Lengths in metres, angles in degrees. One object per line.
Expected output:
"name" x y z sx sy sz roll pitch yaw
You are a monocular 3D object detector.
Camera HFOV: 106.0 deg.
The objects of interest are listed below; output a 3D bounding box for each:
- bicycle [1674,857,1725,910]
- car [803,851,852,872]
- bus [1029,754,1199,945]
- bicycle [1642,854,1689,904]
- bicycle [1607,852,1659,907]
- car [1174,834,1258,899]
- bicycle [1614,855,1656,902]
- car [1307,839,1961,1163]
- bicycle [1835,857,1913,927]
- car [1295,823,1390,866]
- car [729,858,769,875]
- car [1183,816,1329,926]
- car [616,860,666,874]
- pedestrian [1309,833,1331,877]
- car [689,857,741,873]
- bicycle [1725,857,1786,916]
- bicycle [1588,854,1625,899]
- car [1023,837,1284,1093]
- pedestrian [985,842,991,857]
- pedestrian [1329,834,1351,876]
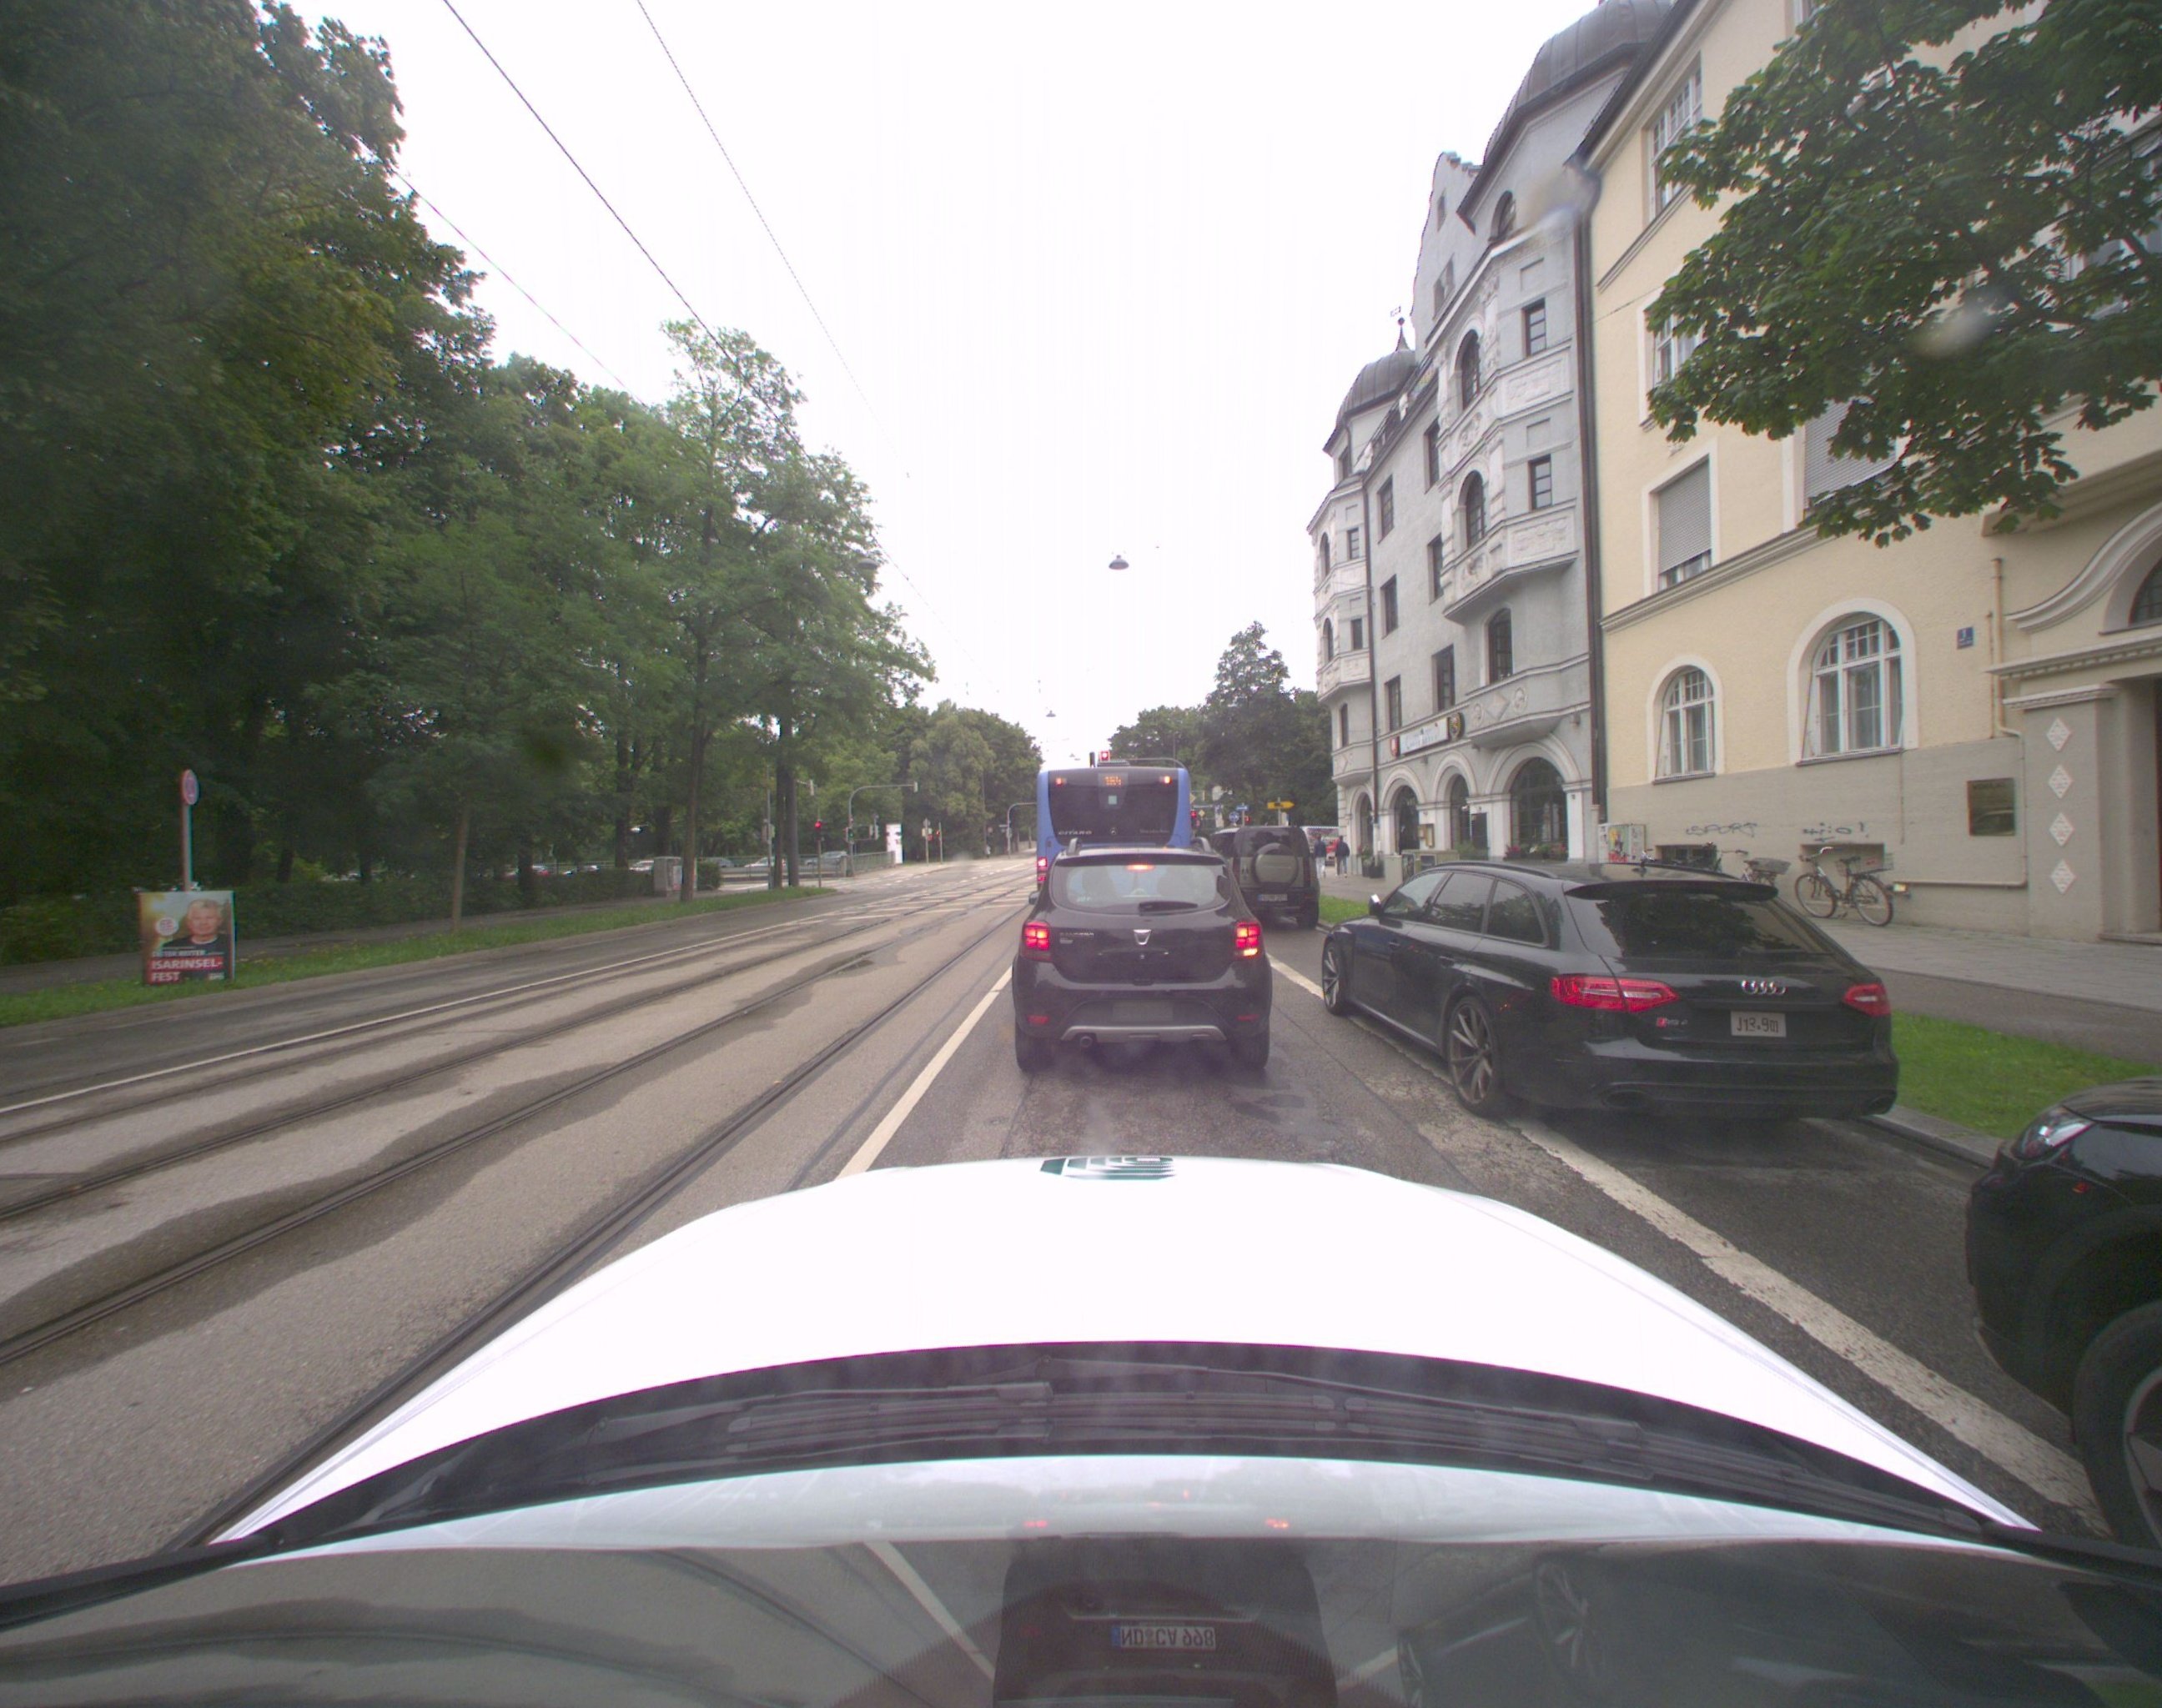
"bicycle" 11.096 0.515 14.629 0.271 0.930 0.886 0 0 3
"car" -22.953 0.689 73.905 4.015 1.887 1.488 0 0 -5
"bus" 0.528 -0.076 16.279 2.670 2.997 6.960 0 0 0
"bicycle" 11.188 0.458 15.598 0.304 0.930 0.886 0 0 4
"bicycle" 10.809 0.487 15.977 0.241 1.039 1.224 0 0 2
"car" 3.560 0.307 22.202 1.708 1.591 4.329 0 0 2
"bicycle" 11.251 0.489 16.558 0.289 0.930 0.886 0 0 3
"car" 3.074 0.647 5.895 1.709 1.426 4.603 0 0 1
"bicycle" 10.985 0.505 11.304 0.220 0.930 0.886 0 0 1
"car" 16.372 -0.588 51.224 5.281 2.612 2.229 0 0 -2
"car" -29.915 1.128 73.478 3.103 1.452 1.249 0 0 -4
"car" 3.335 0.297 16.532 1.908 1.905 4.807 0 0 0
"car" -39.405 1.155 72.960 3.720 1.185 1.249 0 0 -4
"pedestrian" 10.110 0.047 34.490 0.702 1.816 0.870 0 0 2
"car" -32.982 1.014 73.400 3.915 1.404 1.719 0 0 -3
"bicycle" 10.996 0.508 13.294 0.284 0.930 0.886 0 0 3
"bicycle" 11.280 0.474 17.495 0.258 0.930 0.886 0 0 3
"car" 0.483 0.676 6.730 1.595 1.556 3.526 0 0 1
"pedestrian" -9.803 -0.487 85.924 0.529 1.501 0.589 0 0 6
"pedestrian" 10.888 0.053 34.276 0.702 1.732 0.843 0 0 2
